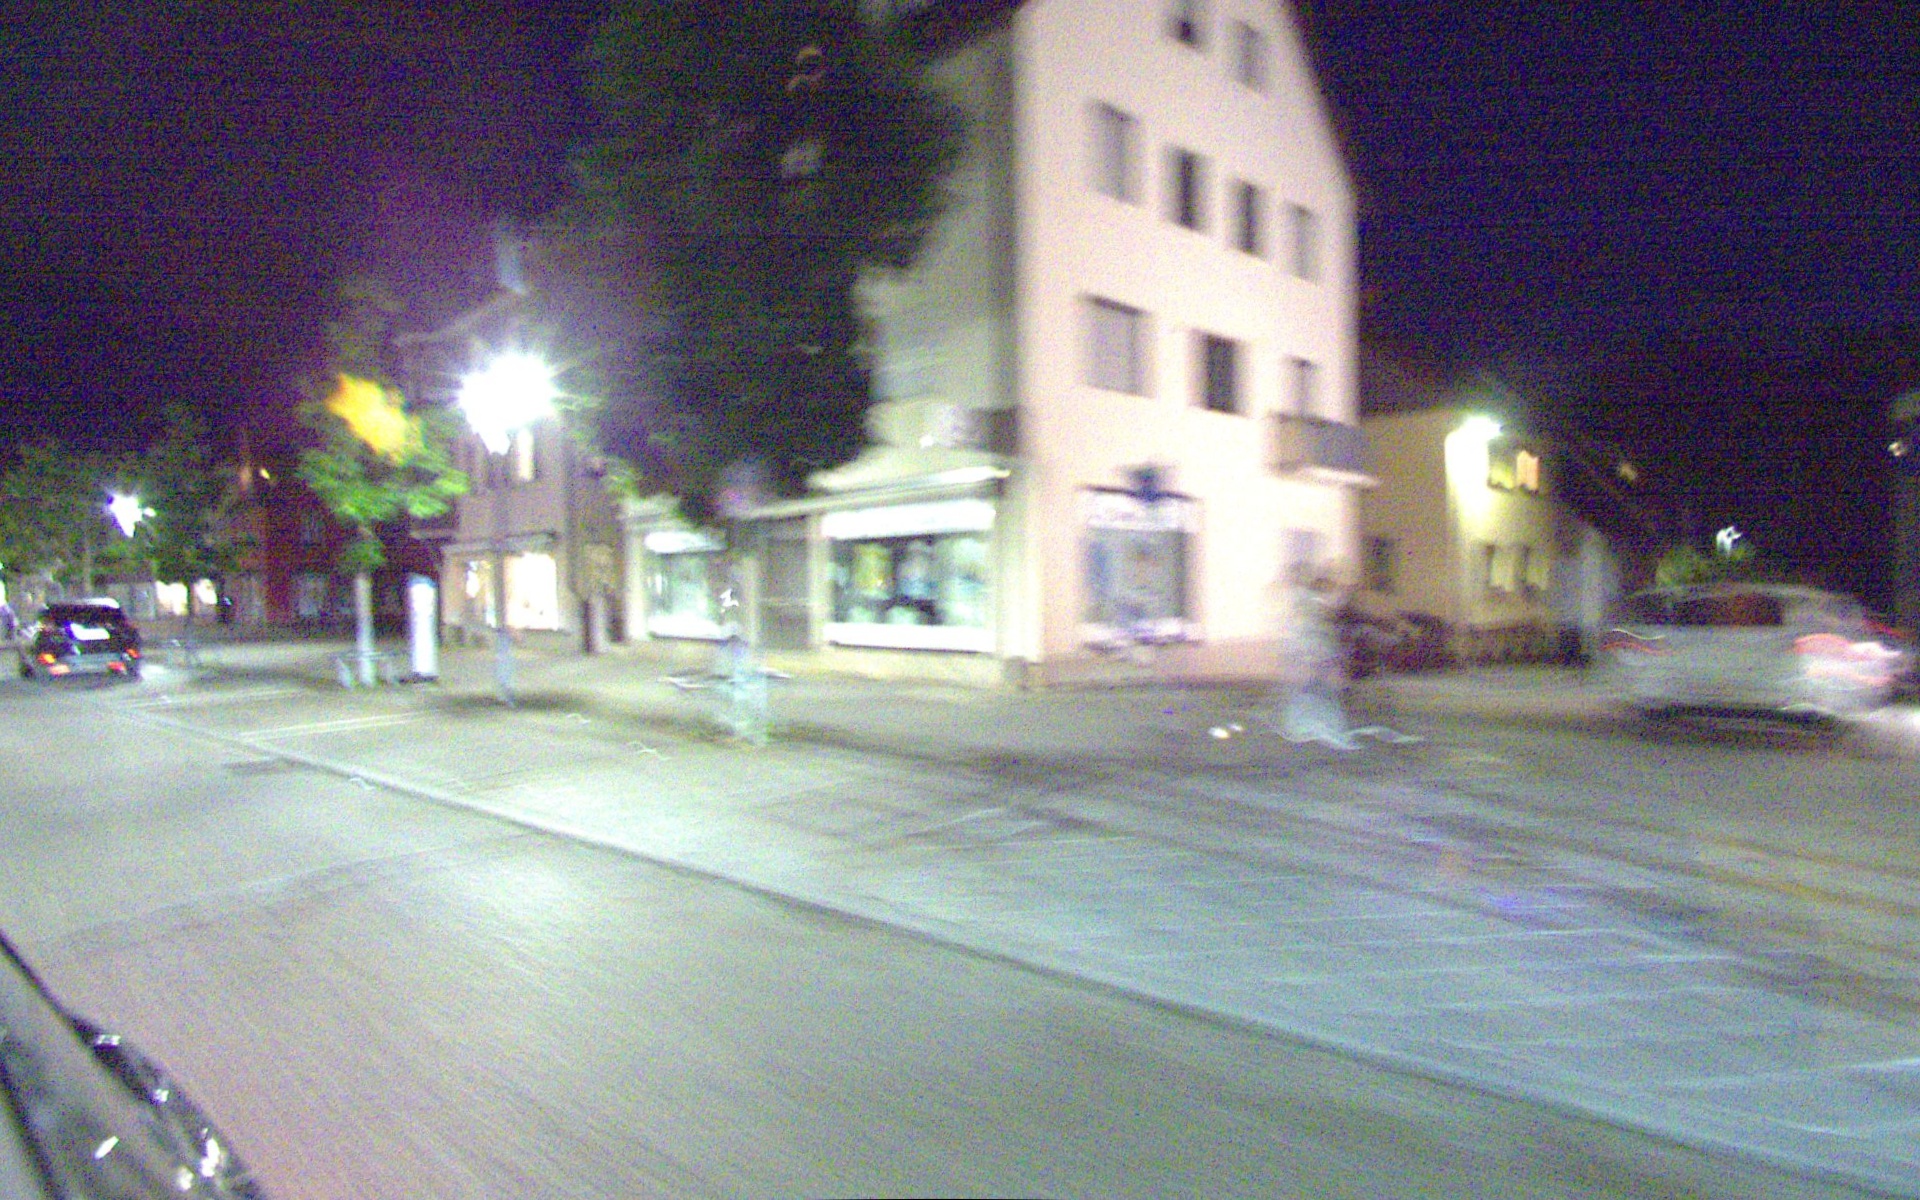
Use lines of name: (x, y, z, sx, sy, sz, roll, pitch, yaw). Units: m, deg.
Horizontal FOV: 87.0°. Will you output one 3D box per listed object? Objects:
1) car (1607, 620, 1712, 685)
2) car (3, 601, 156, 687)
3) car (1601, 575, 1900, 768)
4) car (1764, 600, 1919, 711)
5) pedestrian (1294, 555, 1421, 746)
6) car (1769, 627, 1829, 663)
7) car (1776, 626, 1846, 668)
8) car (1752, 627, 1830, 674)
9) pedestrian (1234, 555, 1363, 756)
car: (18.688, 1.365, 26.966, 1.896, 1.531, 4.124, 1, -1, 41)
car: (-20.348, 0.940, 23.309, 5.001, 1.703, 1.997, -1, 2, 42)
car: (7.723, 0.627, 9.740, 1.841, 1.449, 4.120, -1, -3, 44)
car: (15.081, 0.902, 17.318, 1.989, 1.635, 4.127, 1, -1, 38)
pedestrian: (3.684, 0.453, 9.376, 0.816, 1.669, 0.761, -3, -2, 42)
car: (39.100, 2.084, 47.112, 1.897, 1.531, 4.121, 1, -1, 43)
car: (33.603, 1.846, 39.919, 1.897, 1.531, 4.121, 1, -1, 43)
car: (29.975, 1.803, 36.473, 1.897, 1.531, 4.121, 1, -1, 43)
pedestrian: (2.999, 0.476, 8.956, 0.781, 1.669, 0.761, -3, -2, 42)
